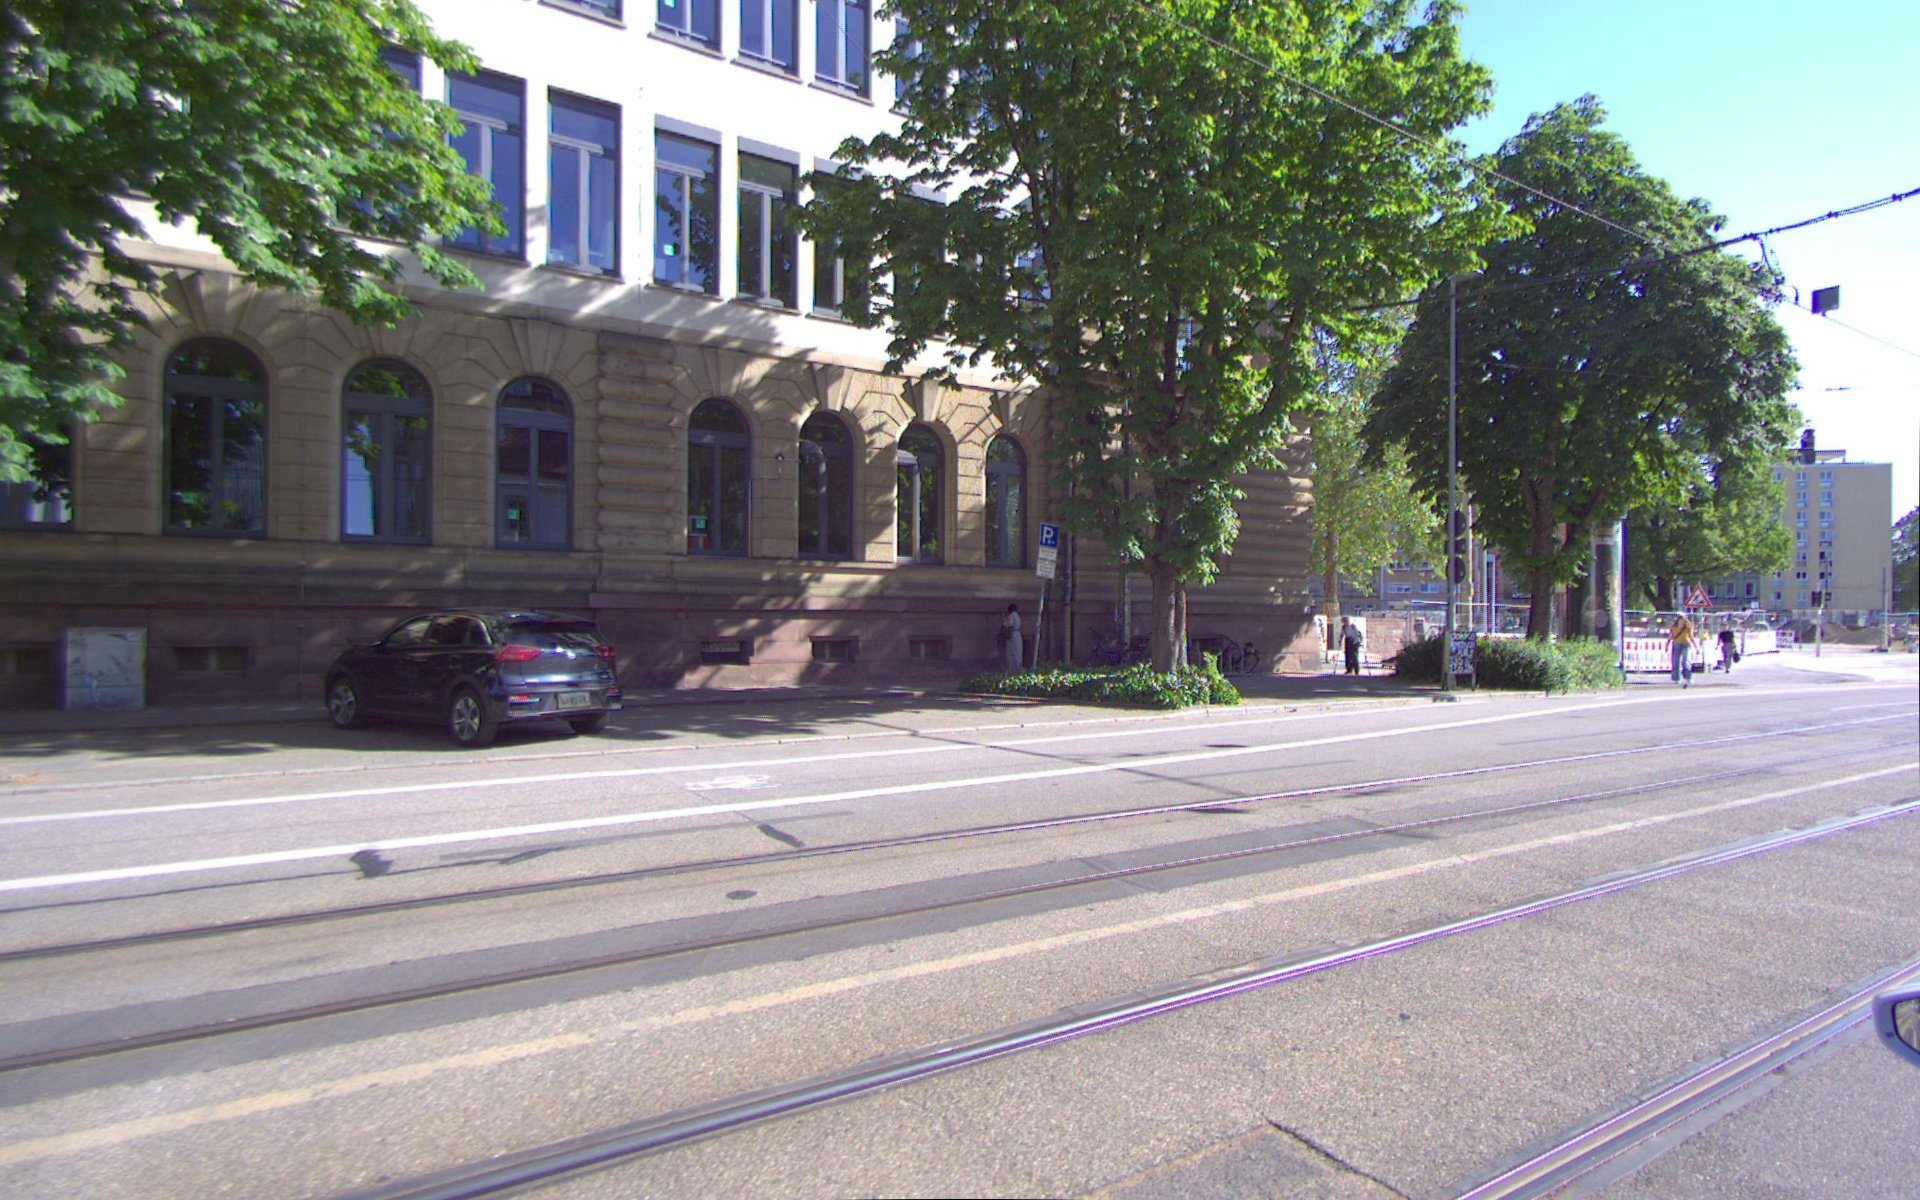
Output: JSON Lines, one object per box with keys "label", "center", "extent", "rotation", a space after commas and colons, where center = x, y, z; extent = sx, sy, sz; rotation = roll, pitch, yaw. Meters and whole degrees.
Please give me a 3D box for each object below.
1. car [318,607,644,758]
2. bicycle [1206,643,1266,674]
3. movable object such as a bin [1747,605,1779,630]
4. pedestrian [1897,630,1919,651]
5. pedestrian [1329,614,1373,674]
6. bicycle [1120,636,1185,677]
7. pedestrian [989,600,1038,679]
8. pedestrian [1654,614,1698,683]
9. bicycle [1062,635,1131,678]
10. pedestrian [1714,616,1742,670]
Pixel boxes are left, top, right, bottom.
{"label": "car", "center": [-6.062, 0.903, 12.640], "extent": [3.930, 1.570, 1.873], "rotation": [1, 0, 32]}
{"label": "bicycle", "center": [6.933, 1.453, 25.199], "extent": [1.601, 0.734, 0.478], "rotation": [1, -1, -31]}
{"label": "movable object such as a bin", "center": [69.025, 1.497, 86.368], "extent": [1.893, 2.040, 3.986], "rotation": [0, -1, 36]}
{"label": "pedestrian", "center": [50.030, 2.136, 52.879], "extent": [0.648, 1.060, 0.893], "rotation": [1, -1, -30]}
{"label": "pedestrian", "center": [10.064, 1.122, 25.868], "extent": [0.909, 1.524, 0.703], "rotation": [0, -1, 37]}
{"label": "bicycle", "center": [4.543, 1.308, 23.644], "extent": [1.601, 0.929, 0.478], "rotation": [1, -1, -31]}
{"label": "pedestrian", "center": [1.141, 0.831, 21.554], "extent": [0.751, 1.657, 0.697], "rotation": [0, 2, -31]}
{"label": "pedestrian", "center": [18.137, 1.218, 25.448], "extent": [0.811, 1.719, 0.632], "rotation": [1, -2, -34]}
{"label": "bicycle", "center": [3.089, 1.267, 22.711], "extent": [1.601, 0.929, 0.478], "rotation": [1, -1, -31]}
{"label": "pedestrian", "center": [25.049, 1.385, 32.759], "extent": [0.674, 1.719, 0.612], "rotation": [1, -1, -44]}
